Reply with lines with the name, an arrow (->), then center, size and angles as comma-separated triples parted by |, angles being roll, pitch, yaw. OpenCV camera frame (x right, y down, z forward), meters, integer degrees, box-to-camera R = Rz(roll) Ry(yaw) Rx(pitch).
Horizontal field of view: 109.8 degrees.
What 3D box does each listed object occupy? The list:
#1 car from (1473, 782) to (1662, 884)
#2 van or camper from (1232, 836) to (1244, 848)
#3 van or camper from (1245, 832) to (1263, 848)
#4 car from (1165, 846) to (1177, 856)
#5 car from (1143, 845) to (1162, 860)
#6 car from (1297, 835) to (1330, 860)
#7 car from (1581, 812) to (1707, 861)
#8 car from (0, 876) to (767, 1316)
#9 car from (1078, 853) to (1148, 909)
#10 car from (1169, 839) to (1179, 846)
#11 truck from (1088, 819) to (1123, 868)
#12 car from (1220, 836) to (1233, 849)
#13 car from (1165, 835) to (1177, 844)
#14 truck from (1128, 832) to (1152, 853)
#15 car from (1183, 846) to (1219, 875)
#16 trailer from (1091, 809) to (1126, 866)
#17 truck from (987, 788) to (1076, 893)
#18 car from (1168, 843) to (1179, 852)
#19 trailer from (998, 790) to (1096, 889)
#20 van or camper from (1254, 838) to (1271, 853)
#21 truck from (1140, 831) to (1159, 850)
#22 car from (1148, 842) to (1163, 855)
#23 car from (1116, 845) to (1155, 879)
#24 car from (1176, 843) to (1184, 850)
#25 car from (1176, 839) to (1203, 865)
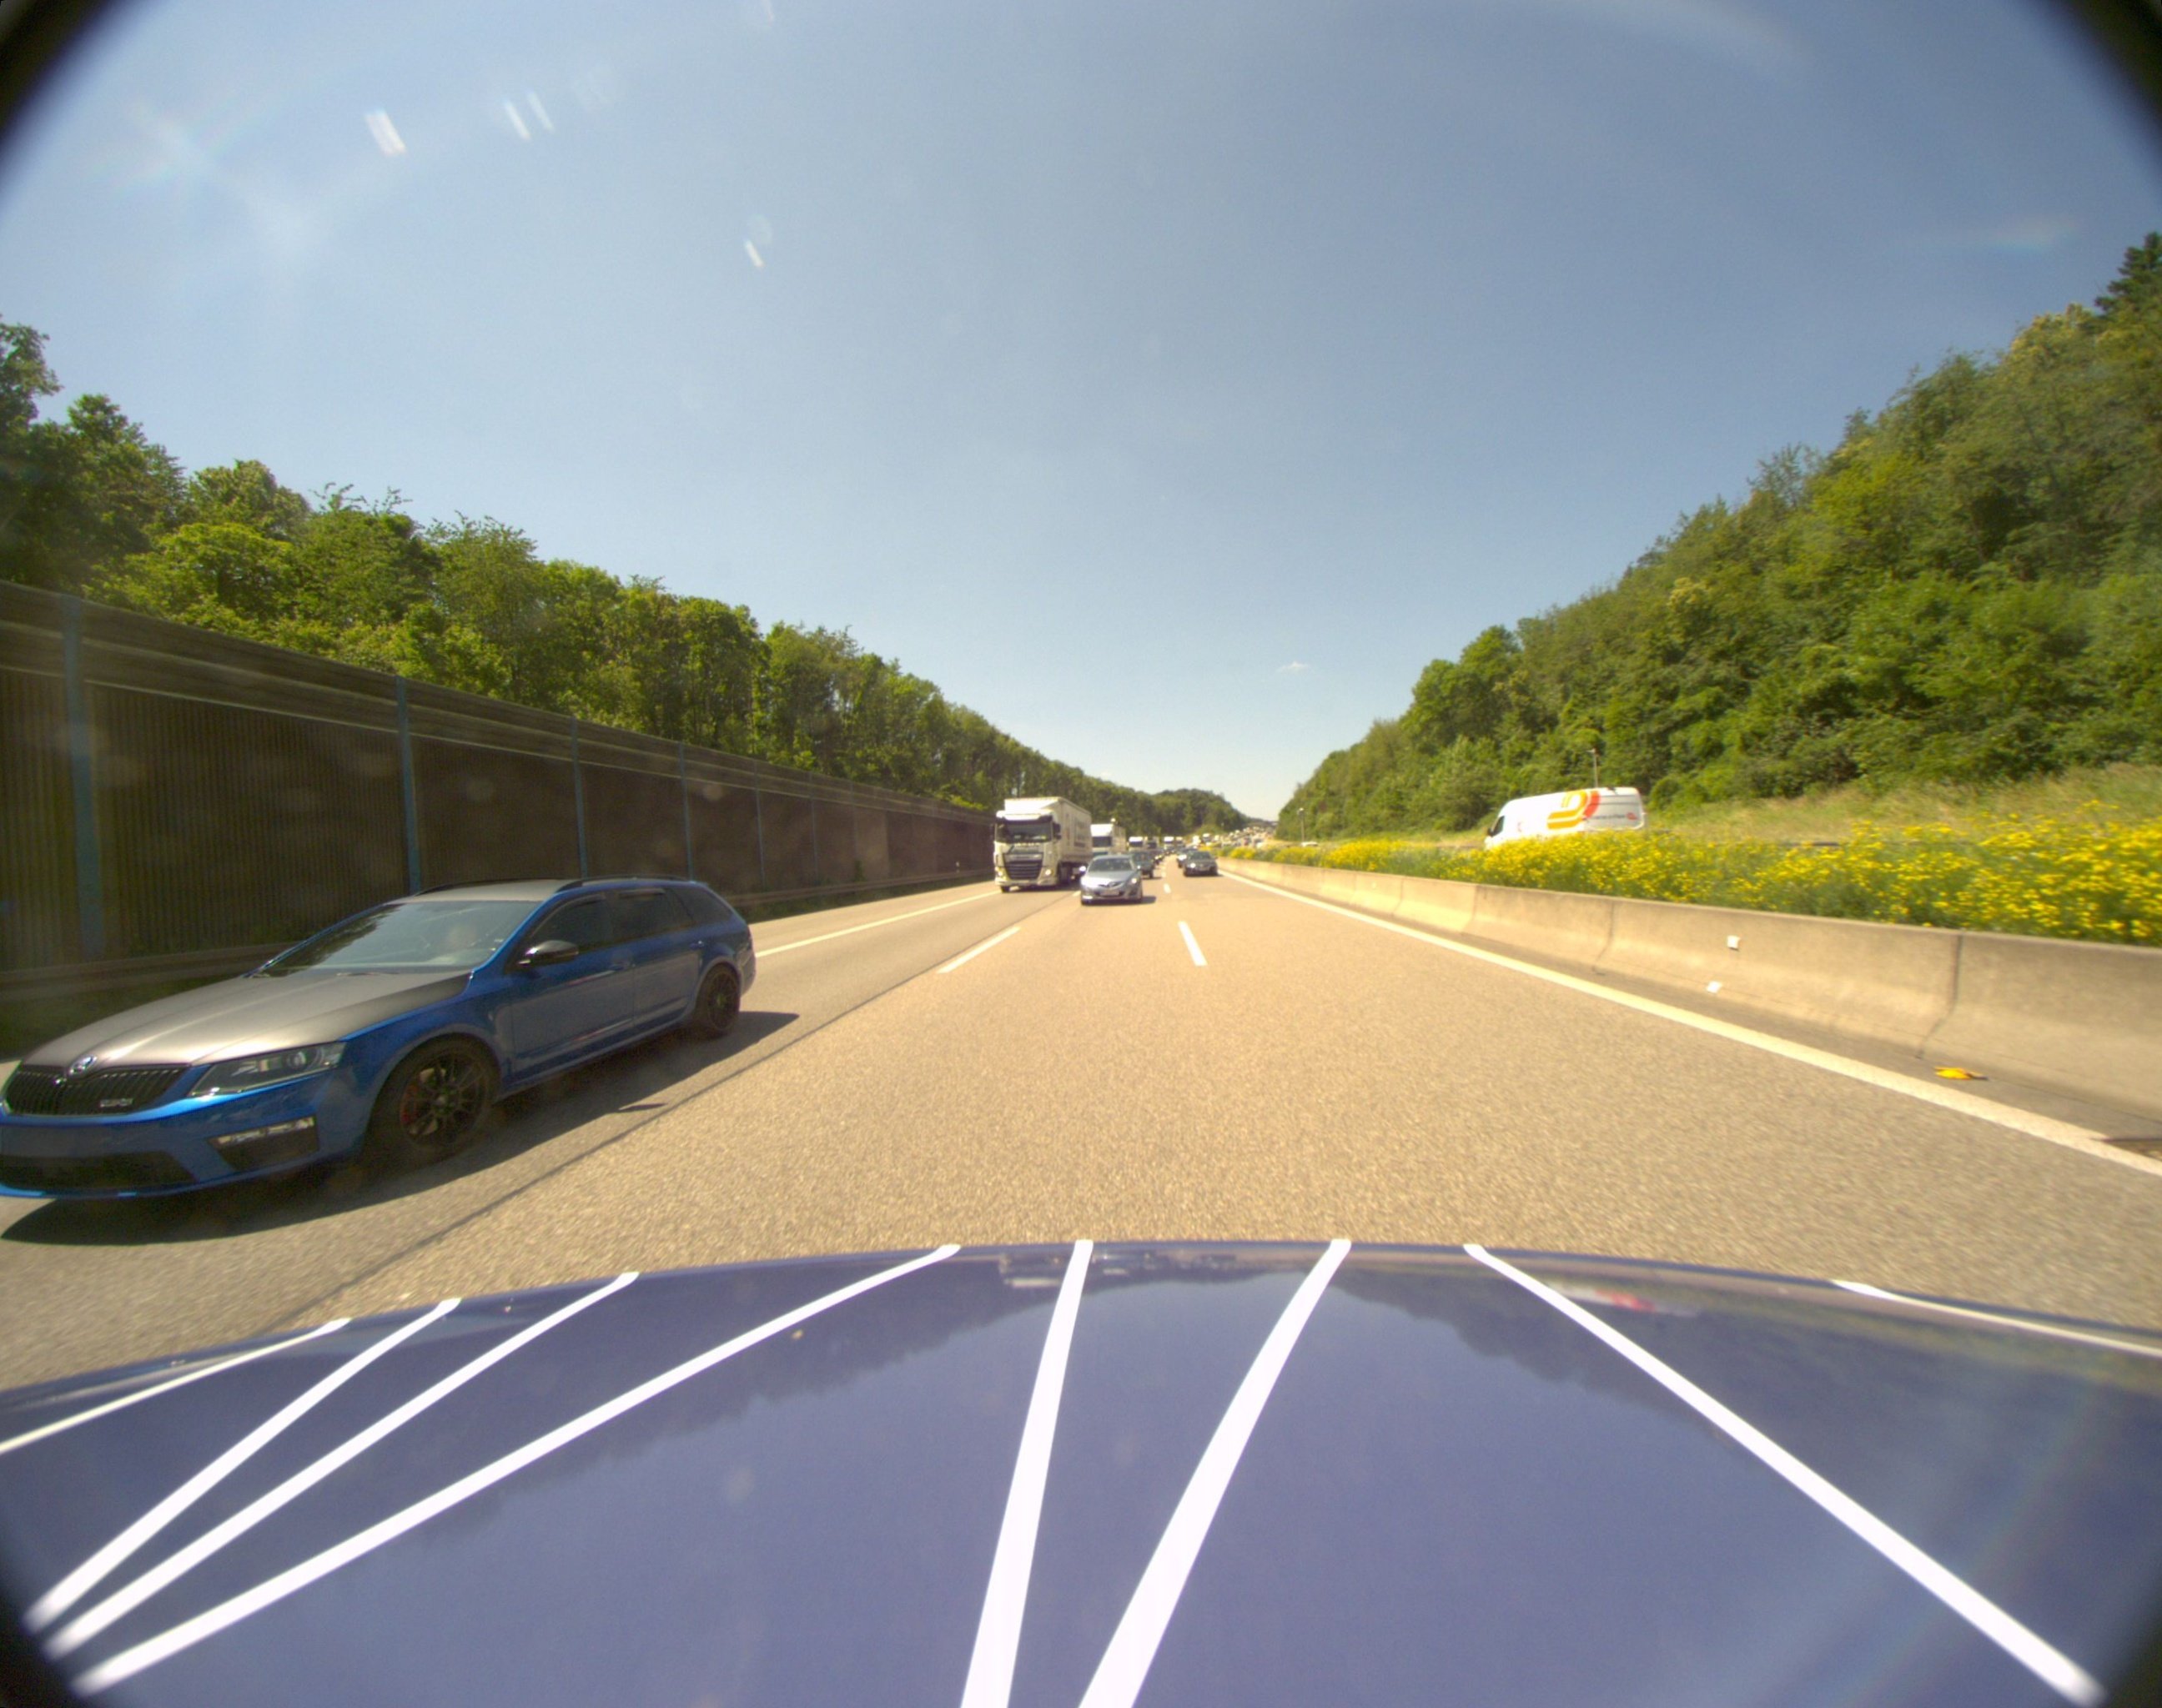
car -> 16.031, -0.634, 25.756 | 2.073, 2.879, 7.464 | -2, 1, 5
van or camper -> 39.154, -3.000, 189.751 | 2.262, 2.882, 6.559 | -2, 1, 7
van or camper -> 36.795, -3.045, 161.628 | 2.545, 3.299, 9.003 | -2, 2, 6
car -> 16.637, -0.519, 140.373 | 1.997, 1.729, 4.002 | -2, 2, 10
car -> 7.473, -0.168, 79.365 | 1.801, 1.521, 3.797 | -3, 1, 7
car -> 20.145, -0.604, 66.036 | 1.882, 2.002, 4.000 | -2, 2, 4
car -> 20.063, -0.620, 27.295 | 1.689, 1.565, 3.928 | -2, 1, 3
car -> -4.112, 1.050, 5.266 | 1.654, 1.474, 4.482 | -2, 2, 4
car -> 1.069, 0.748, 23.452 | 1.886, 1.459, 4.249 | -2, 1, 5
car -> 22.251, -2.745, 181.043 | 1.997, 1.729, 4.002 | -2, 2, 12
truck -> 2.251, -0.992, 67.465 | 2.541, 4.007, 6.626 | -2, 2, 6
car -> 31.997, -2.459, 167.167 | 2.205, 2.725, 5.749 | -2, 0, 6
car -> 26.840, -4.360, 226.863 | 2.695, 2.468, 6.589 | -2, 2, 14
truck -> 10.096, -1.984, 129.792 | 3.260, 3.337, 6.866 | -2, 2, 10
car -> 6.711, 0.344, 42.907 | 1.720, 1.470, 4.001 | -2, 1, 5
trailer -> 2.943, -1.742, 75.763 | 2.573, 5.012, 15.272 | -2, 2, 5
truck -> -2.054, -0.562, 33.905 | 2.791, 4.180, 5.872 | -2, 0, 7
car -> 19.449, -1.360, 159.805 | 1.997, 1.729, 4.001 | -2, 2, 8
trailer -> -1.366, -0.647, 39.465 | 2.791, 4.180, 13.249 | -2, 0, 7
van or camper -> 25.276, -1.205, 105.707 | 1.695, 2.001, 4.214 | -2, 1, 6
truck -> 14.647, -2.879, 162.085 | 3.556, 3.695, 7.552 | -2, 2, 7
car -> 9.627, -0.737, 97.501 | 1.801, 1.521, 3.797 | -3, 1, 7
car -> 3.057, 0.415, 42.042 | 1.886, 1.696, 4.086 | -2, 1, 7
car -> 27.146, -2.061, 208.516 | 1.997, 1.729, 4.002 | -2, 2, 12
car -> 9.132, -0.189, 64.105 | 1.998, 2.002, 4.000 | -2, 2, 5
